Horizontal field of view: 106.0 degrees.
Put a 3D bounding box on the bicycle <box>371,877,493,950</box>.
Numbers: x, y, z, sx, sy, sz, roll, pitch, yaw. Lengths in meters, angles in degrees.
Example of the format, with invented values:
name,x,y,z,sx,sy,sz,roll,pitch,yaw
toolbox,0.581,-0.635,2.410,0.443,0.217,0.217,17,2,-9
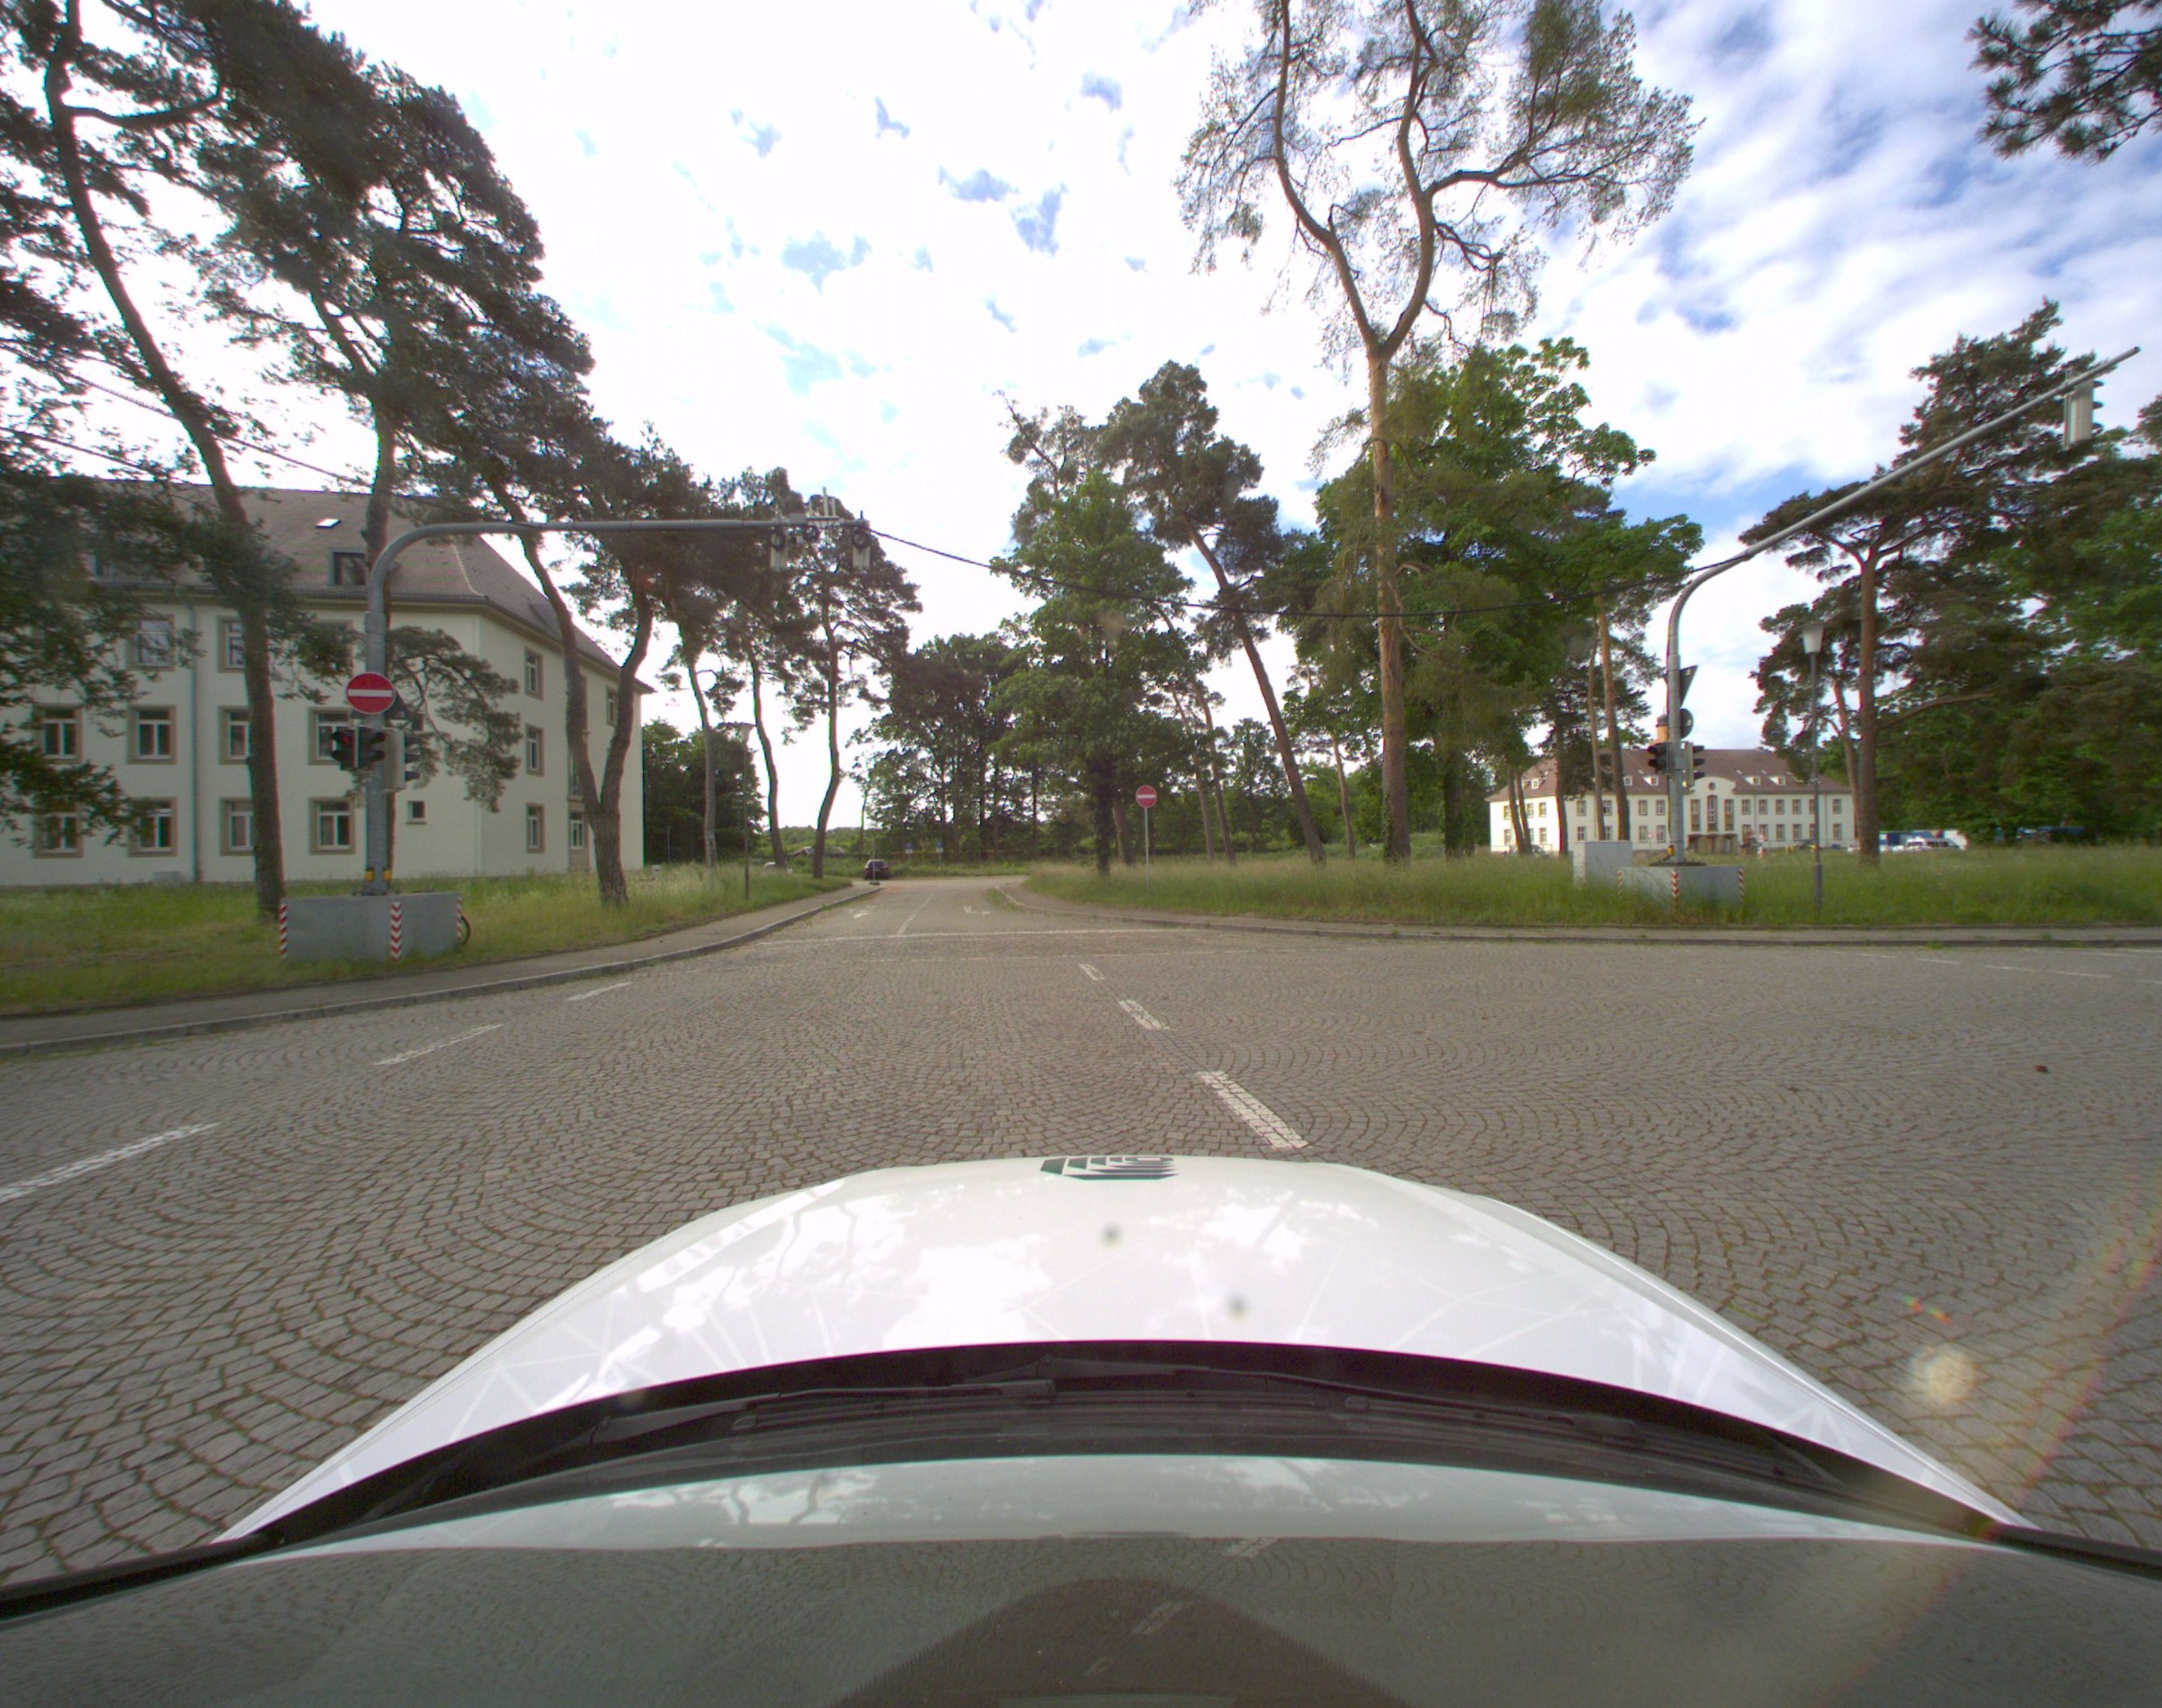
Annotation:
name,x,y,z,sx,sy,sz,roll,pitch,yaw
bicycle,-10.287,0.932,12.952,1.413,1.074,0.496,-1,2,-12

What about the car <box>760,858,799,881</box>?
name,x,y,z,sx,sy,sz,roll,pitch,yaw
car,-22.810,1.149,61.810,1.708,1.610,4.052,1,0,-4

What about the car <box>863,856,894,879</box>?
name,x,y,z,sx,sy,sz,roll,pitch,yaw
car,-15.433,1.003,62.311,1.709,1.610,4.049,1,0,-6

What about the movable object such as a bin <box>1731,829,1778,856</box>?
name,x,y,z,sx,sy,sz,roll,pitch,yaw
movable object such as a bin,93.115,-1.535,112.701,2.122,3.641,6.151,0,-1,9

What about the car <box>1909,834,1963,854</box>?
name,x,y,z,sx,sy,sz,roll,pitch,yaw
car,96.143,-1.076,91.581,4.330,2.095,2.062,1,-1,-9
